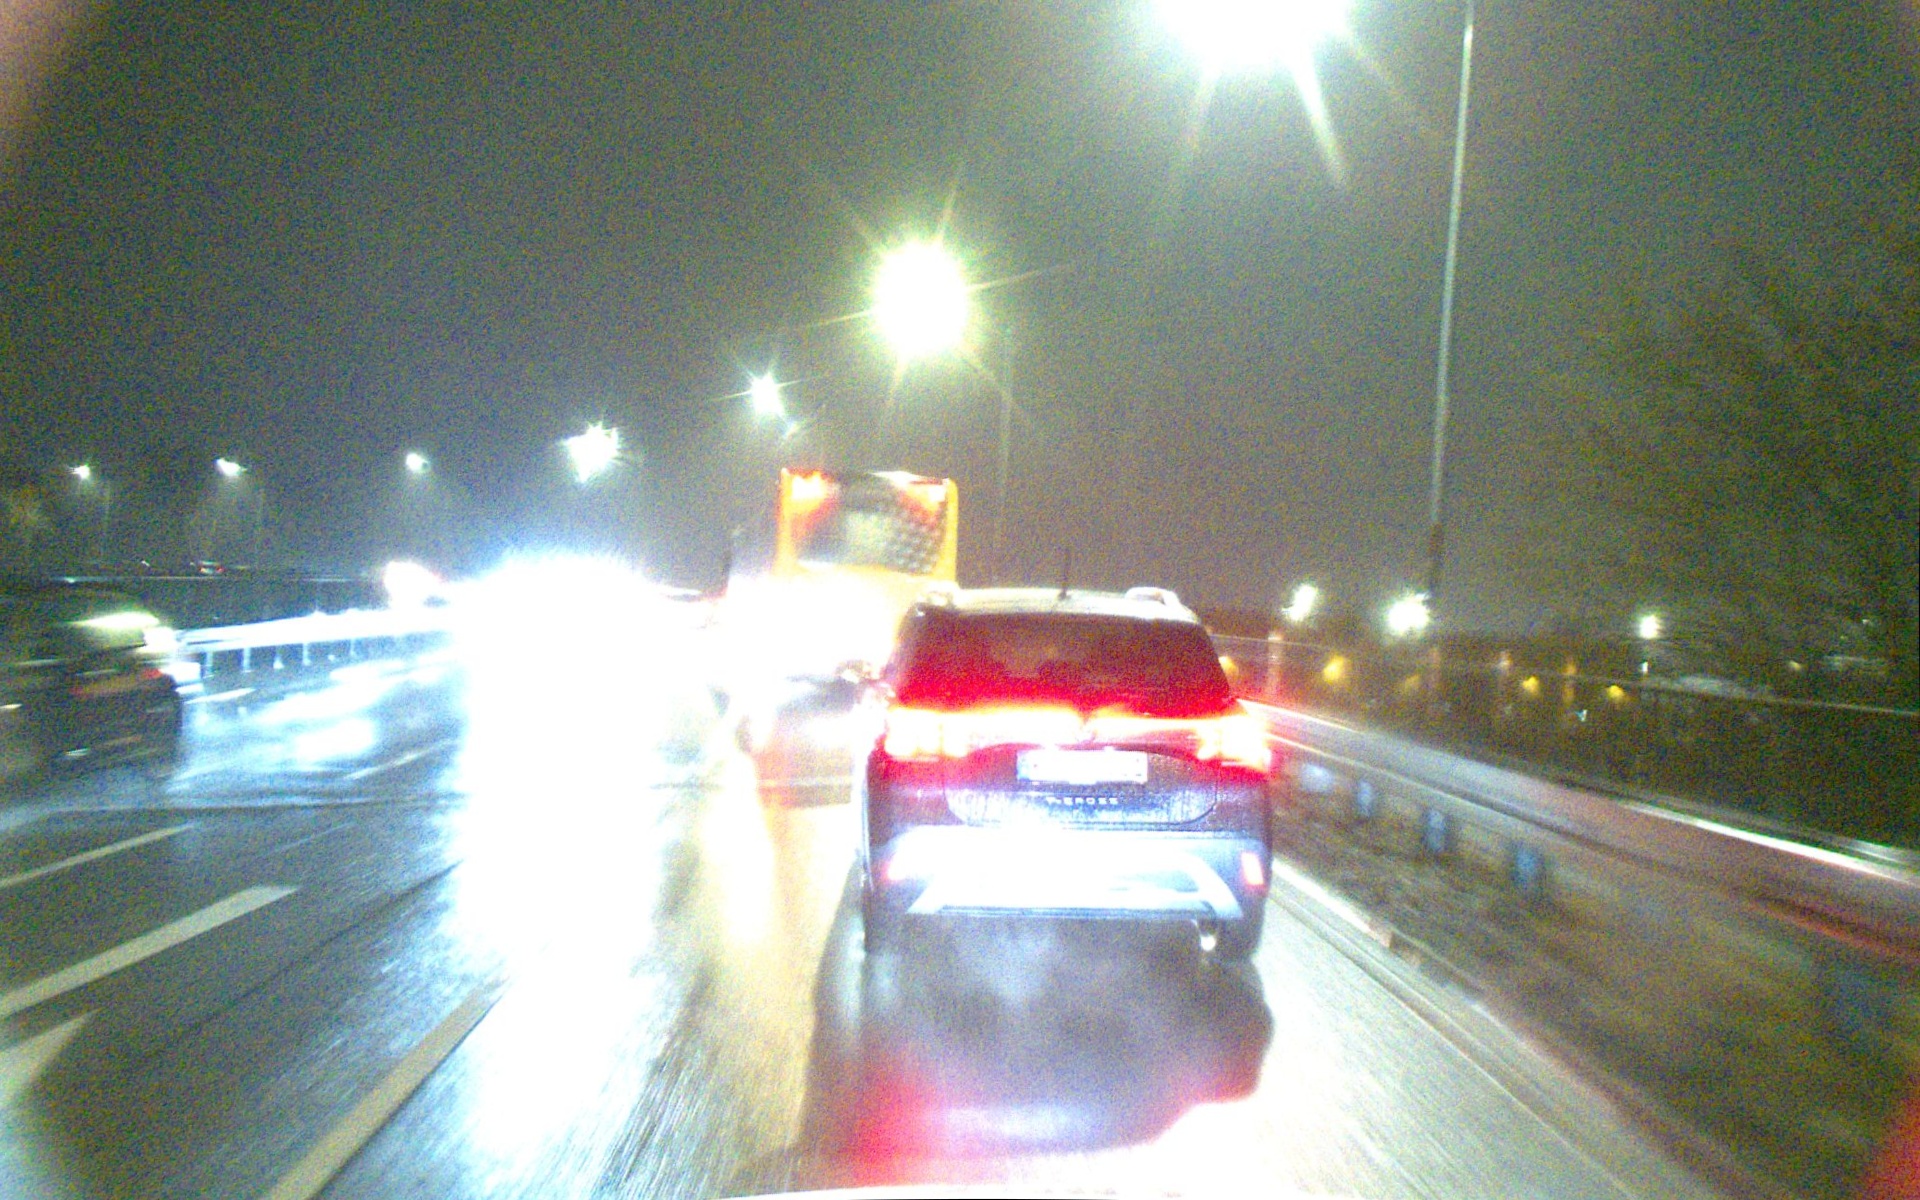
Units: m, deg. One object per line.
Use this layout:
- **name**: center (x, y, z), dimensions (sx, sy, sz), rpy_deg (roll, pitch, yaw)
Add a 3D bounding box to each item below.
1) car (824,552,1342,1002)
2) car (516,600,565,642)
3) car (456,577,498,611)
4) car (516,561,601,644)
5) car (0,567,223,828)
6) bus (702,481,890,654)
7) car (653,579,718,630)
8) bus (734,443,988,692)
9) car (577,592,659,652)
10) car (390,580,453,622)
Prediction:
- **car**: center (0.313, 0.677, 8.177), dimensions (1.820, 1.614, 3.995), rpy_deg (3, 0, -6)
- **car**: center (-15.579, 0.750, 61.424), dimensions (1.654, 1.415, 4.434), rpy_deg (3, 0, -14)
- **car**: center (-21.965, -0.299, 75.231), dimensions (1.786, 1.428, 4.030), rpy_deg (1, 1, -17)
- **car**: center (-8.329, 0.018, 34.473), dimensions (1.444, 1.612, 3.184), rpy_deg (1, 1, -9)
- **car**: center (-6.241, 0.536, 10.104), dimensions (1.731, 1.452, 4.217), rpy_deg (0, 0, -3)
- **bus**: center (-3.988, -0.755, 38.229), dimensions (2.998, 3.184, 8.053), rpy_deg (8, 0, -13)
- **car**: center (-9.567, 0.150, 57.396), dimensions (1.612, 1.684, 3.689), rpy_deg (-1, 0, -19)
- **bus**: center (-2.143, -0.518, 28.001), dimensions (3.026, 3.187, 12.671), rpy_deg (2, 1, -9)
- **car**: center (-9.209, 0.558, 44.368), dimensions (1.864, 1.464, 4.046), rpy_deg (1, 0, -16)
- **car**: center (-32.033, 0.042, 98.305), dimensions (1.982, 2.048, 3.942), rpy_deg (9, -3, -41)
